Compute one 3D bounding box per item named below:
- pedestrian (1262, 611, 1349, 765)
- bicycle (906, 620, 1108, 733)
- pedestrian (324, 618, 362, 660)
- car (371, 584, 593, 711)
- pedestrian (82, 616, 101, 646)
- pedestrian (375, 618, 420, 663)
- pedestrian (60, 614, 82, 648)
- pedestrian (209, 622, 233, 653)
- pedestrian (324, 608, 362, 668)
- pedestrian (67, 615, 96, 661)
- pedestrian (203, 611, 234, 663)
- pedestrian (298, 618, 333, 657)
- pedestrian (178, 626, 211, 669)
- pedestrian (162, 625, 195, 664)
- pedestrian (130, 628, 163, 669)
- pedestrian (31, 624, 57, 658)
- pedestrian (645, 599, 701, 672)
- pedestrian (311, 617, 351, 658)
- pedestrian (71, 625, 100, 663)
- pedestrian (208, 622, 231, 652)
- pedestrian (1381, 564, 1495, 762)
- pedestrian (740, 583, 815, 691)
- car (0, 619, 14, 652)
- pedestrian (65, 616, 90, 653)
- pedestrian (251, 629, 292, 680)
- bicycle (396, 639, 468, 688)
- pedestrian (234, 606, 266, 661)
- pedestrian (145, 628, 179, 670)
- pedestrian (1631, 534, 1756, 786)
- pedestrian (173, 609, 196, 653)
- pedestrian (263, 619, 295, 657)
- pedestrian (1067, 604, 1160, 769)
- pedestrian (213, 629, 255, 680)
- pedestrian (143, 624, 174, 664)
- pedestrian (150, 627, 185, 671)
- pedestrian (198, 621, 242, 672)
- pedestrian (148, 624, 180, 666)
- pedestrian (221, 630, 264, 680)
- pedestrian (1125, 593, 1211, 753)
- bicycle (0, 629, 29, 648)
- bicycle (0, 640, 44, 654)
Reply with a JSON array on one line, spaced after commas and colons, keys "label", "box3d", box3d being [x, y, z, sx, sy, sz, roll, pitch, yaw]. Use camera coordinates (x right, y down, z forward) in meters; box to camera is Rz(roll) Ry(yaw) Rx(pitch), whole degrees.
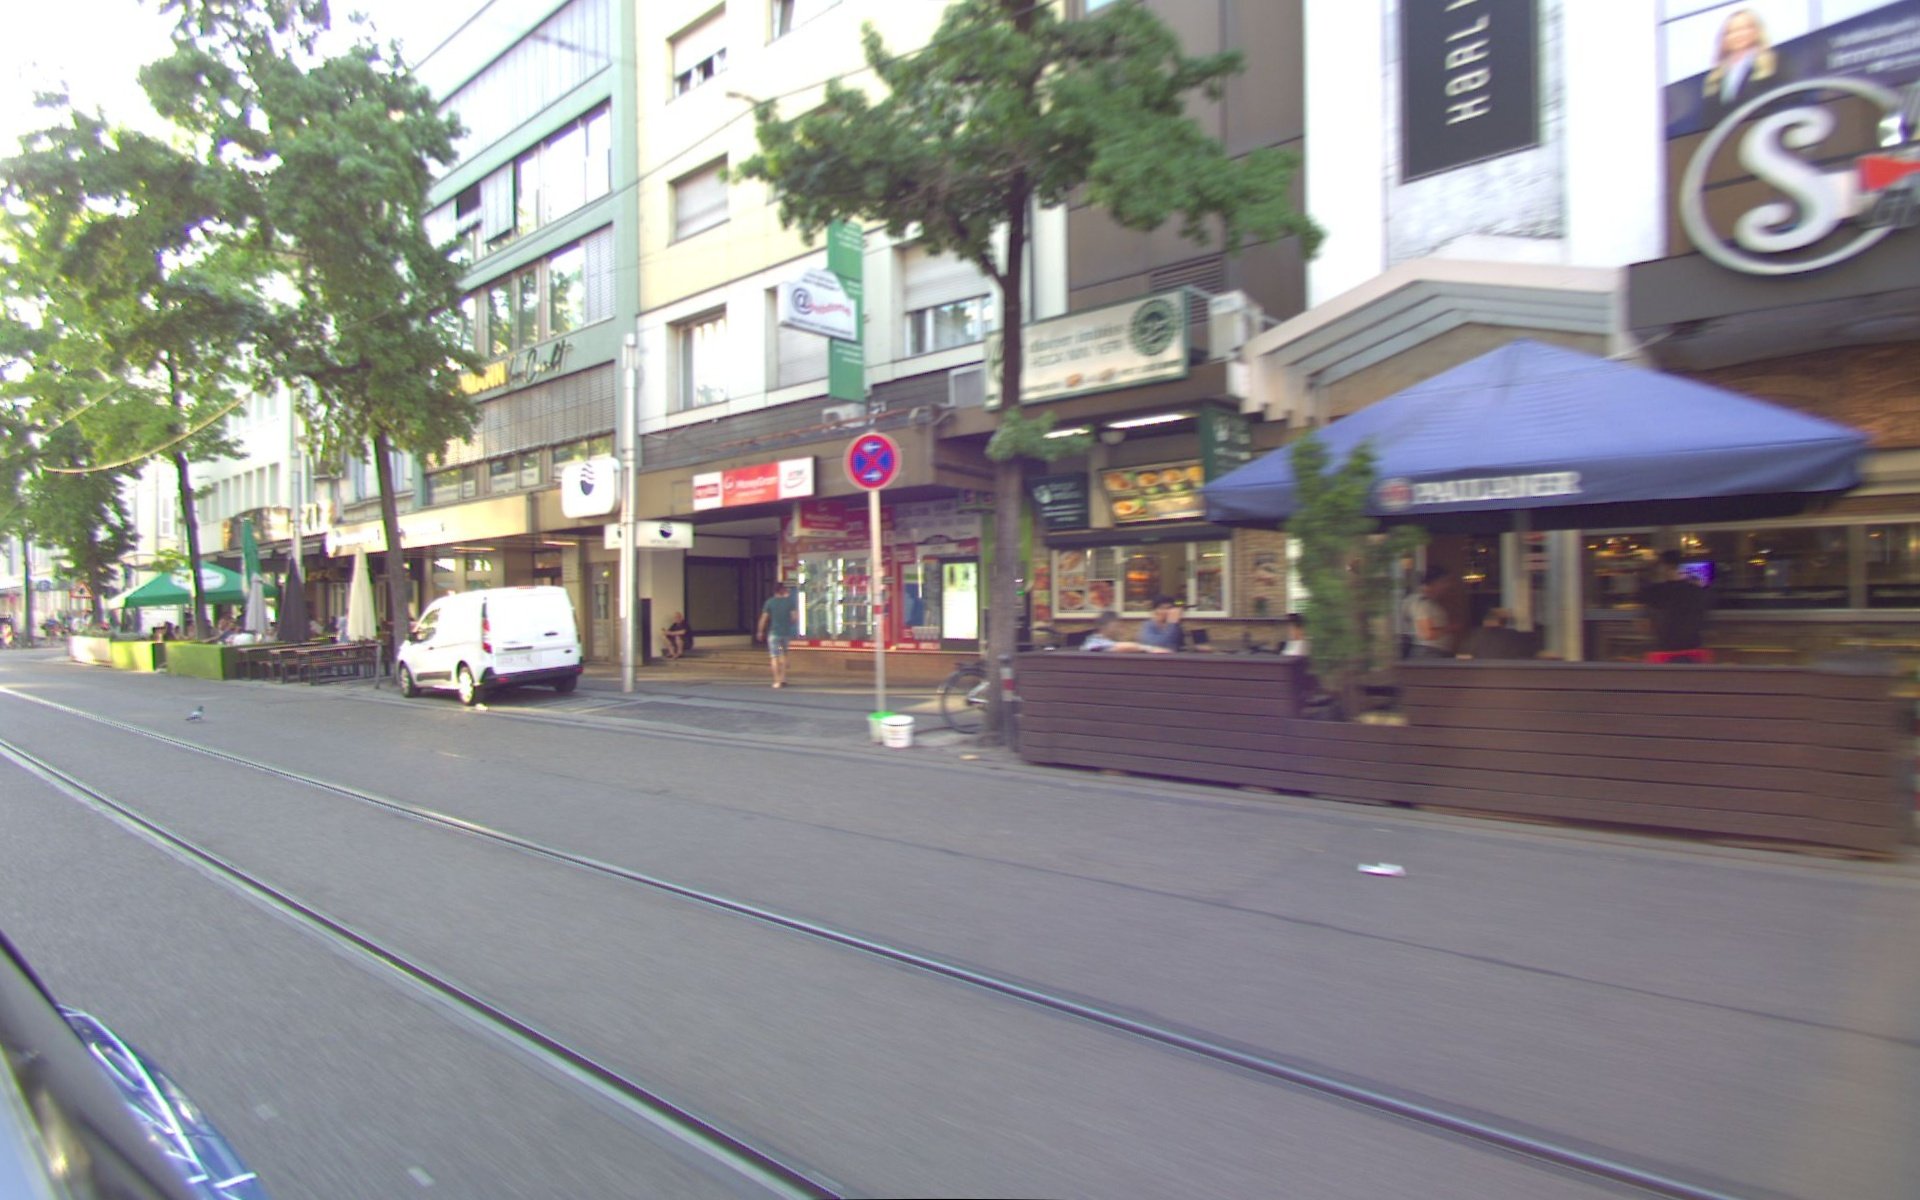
[{"label": "pedestrian", "box3d": [2.931, 0.724, 8.576, 0.535, 1.237, 0.490, -2, 0, 40]}, {"label": "bicycle", "box3d": [0.507, 0.835, 11.139, 2.073, 1.129, 0.694, -3, 1, 23]}, {"label": "pedestrian", "box3d": [-19.293, 1.211, 31.649, 0.787, 1.223, 0.729, -1, 2, 40]}, {"label": "car", "box3d": [-8.436, 0.768, 17.670, 4.551, 1.878, 1.777, -1, 2, 42]}, {"label": "pedestrian", "box3d": [-49.249, 1.758, 57.354, 0.967, 1.669, 0.699, -3, -2, 42]}, {"label": "pedestrian", "box3d": [-16.205, 1.160, 29.161, 1.064, 1.197, 0.745, -1, 2, 40]}, {"label": "pedestrian", "box3d": [-49.878, 1.737, 56.782, 0.875, 1.826, 0.712, -1, 2, 40]}, {"label": "pedestrian", "box3d": [-30.888, 1.563, 42.303, 0.738, 1.279, 0.638, -1, 1, 41]}, {"label": "pedestrian", "box3d": [-17.000, 1.031, 27.893, 0.700, 1.586, 0.641, -1, 2, 40]}, {"label": "pedestrian", "box3d": [-35.555, 1.530, 40.966, 0.686, 1.805, 0.749, -1, 1, 40]}, {"label": "pedestrian", "box3d": [-24.291, 1.207, 33.159, 0.696, 1.683, 0.612, -1, 1, 40]}, {"label": "pedestrian", "box3d": [-21.596, 1.239, 33.924, 0.787, 1.241, 0.729, -1, 2, 40]}, {"label": "pedestrian", "box3d": [-23.532, 1.446, 31.102, 0.696, 1.254, 0.613, -1, 2, 40]}, {"label": "pedestrian", "box3d": [-26.176, 1.475, 33.877, 0.869, 1.269, 0.700, -1, 1, 43]}, {"label": "pedestrian", "box3d": [-26.741, 1.578, 33.276, 0.772, 1.269, 0.700, -1, 1, 43]}, {"label": "pedestrian", "box3d": [-50.637, 2.266, 55.957, 0.884, 1.795, 0.857, -1, 2, 40]}, {"label": "pedestrian", "box3d": [-6.113, 0.752, 21.560, 0.764, 1.477, 0.762, -1, 2, 38]}, {"label": "pedestrian", "box3d": [-20.497, 1.216, 32.972, 0.944, 1.246, 0.769, -1, 2, 40]}, {"label": "pedestrian", "box3d": [-33.433, 1.684, 38.680, 0.806, 1.397, 0.682, -1, 1, 41]}, {"label": "pedestrian", "box3d": [-29.165, 1.449, 39.850, 0.686, 1.170, 0.547, -1, 1, 41]}, {"label": "pedestrian", "box3d": [4.146, 0.514, 8.771, 0.719, 1.619, 0.666, -2, 0, 40]}, {"label": "pedestrian", "box3d": [-2.999, 0.592, 16.622, 1.004, 1.698, 0.660, -2, 1, 40]}, {"label": "car", "box3d": [-55.573, 2.041, 57.833, 4.558, 1.846, 1.838, -1, 0, 42]}, {"label": "pedestrian", "box3d": [-44.599, 1.746, 51.124, 0.984, 1.805, 0.766, -1, 2, 42]}, {"label": "pedestrian", "box3d": [-18.425, 1.450, 27.094, 0.797, 1.303, 0.650, -1, 2, 40]}, {"label": "bicycle", "box3d": [-11.106, 1.315, 21.349, 0.823, 0.871, 1.865, -3, 1, -11]}, {"label": "pedestrian", "box3d": [-23.868, 1.120, 34.013, 0.697, 1.770, 0.671, -1, 1, 42]}, {"label": "pedestrian", "box3d": [-24.615, 1.500, 31.214, 0.696, 1.254, 0.613, -1, 2, 40]}, {"label": "pedestrian", "box3d": [5.423, 0.413, 7.475, 0.675, 1.737, 0.710, -2, 0, 39]}, {"label": "pedestrian", "box3d": [-33.044, 1.302, 43.152, 0.675, 1.829, 0.766, -2, 1, -34]}, {"label": "pedestrian", "box3d": [-23.481, 1.295, 34.896, 0.798, 1.251, 0.663, -1, 1, 40]}, {"label": "pedestrian", "box3d": [1.351, 0.732, 8.876, 0.582, 1.366, 0.544, -2, 0, 40]}, {"label": "pedestrian", "box3d": [-19.032, 1.415, 26.530, 0.872, 1.253, 0.650, -1, 2, 40]}, {"label": "pedestrian", "box3d": [-27.887, 1.524, 35.218, 0.806, 1.321, 0.682, -1, 1, 41]}, {"label": "pedestrian", "box3d": [-23.792, 1.470, 30.384, 0.696, 1.254, 0.613, -1, 2, 40]}, {"label": "pedestrian", "box3d": [-21.024, 1.312, 28.742, 0.872, 1.353, 0.747, -1, 2, 40]}, {"label": "pedestrian", "box3d": [-27.243, 1.534, 34.623, 0.781, 1.357, 0.700, -1, 1, 43]}, {"label": "pedestrian", "box3d": [-18.432, 1.402, 25.989, 0.797, 1.202, 0.650, -1, 2, 40]}, {"label": "pedestrian", "box3d": [1.959, 0.663, 9.524, 0.582, 1.440, 0.544, -2, 0, 40]}, {"label": "bicycle", "box3d": [-59.460, 2.446, 63.636, 2.038, 1.130, 0.753, -2, 2, 30]}, {"label": "bicycle", "box3d": [-48.831, 2.425, 52.575, 1.282, 0.613, 1.776, -1, 1, 43]}]
